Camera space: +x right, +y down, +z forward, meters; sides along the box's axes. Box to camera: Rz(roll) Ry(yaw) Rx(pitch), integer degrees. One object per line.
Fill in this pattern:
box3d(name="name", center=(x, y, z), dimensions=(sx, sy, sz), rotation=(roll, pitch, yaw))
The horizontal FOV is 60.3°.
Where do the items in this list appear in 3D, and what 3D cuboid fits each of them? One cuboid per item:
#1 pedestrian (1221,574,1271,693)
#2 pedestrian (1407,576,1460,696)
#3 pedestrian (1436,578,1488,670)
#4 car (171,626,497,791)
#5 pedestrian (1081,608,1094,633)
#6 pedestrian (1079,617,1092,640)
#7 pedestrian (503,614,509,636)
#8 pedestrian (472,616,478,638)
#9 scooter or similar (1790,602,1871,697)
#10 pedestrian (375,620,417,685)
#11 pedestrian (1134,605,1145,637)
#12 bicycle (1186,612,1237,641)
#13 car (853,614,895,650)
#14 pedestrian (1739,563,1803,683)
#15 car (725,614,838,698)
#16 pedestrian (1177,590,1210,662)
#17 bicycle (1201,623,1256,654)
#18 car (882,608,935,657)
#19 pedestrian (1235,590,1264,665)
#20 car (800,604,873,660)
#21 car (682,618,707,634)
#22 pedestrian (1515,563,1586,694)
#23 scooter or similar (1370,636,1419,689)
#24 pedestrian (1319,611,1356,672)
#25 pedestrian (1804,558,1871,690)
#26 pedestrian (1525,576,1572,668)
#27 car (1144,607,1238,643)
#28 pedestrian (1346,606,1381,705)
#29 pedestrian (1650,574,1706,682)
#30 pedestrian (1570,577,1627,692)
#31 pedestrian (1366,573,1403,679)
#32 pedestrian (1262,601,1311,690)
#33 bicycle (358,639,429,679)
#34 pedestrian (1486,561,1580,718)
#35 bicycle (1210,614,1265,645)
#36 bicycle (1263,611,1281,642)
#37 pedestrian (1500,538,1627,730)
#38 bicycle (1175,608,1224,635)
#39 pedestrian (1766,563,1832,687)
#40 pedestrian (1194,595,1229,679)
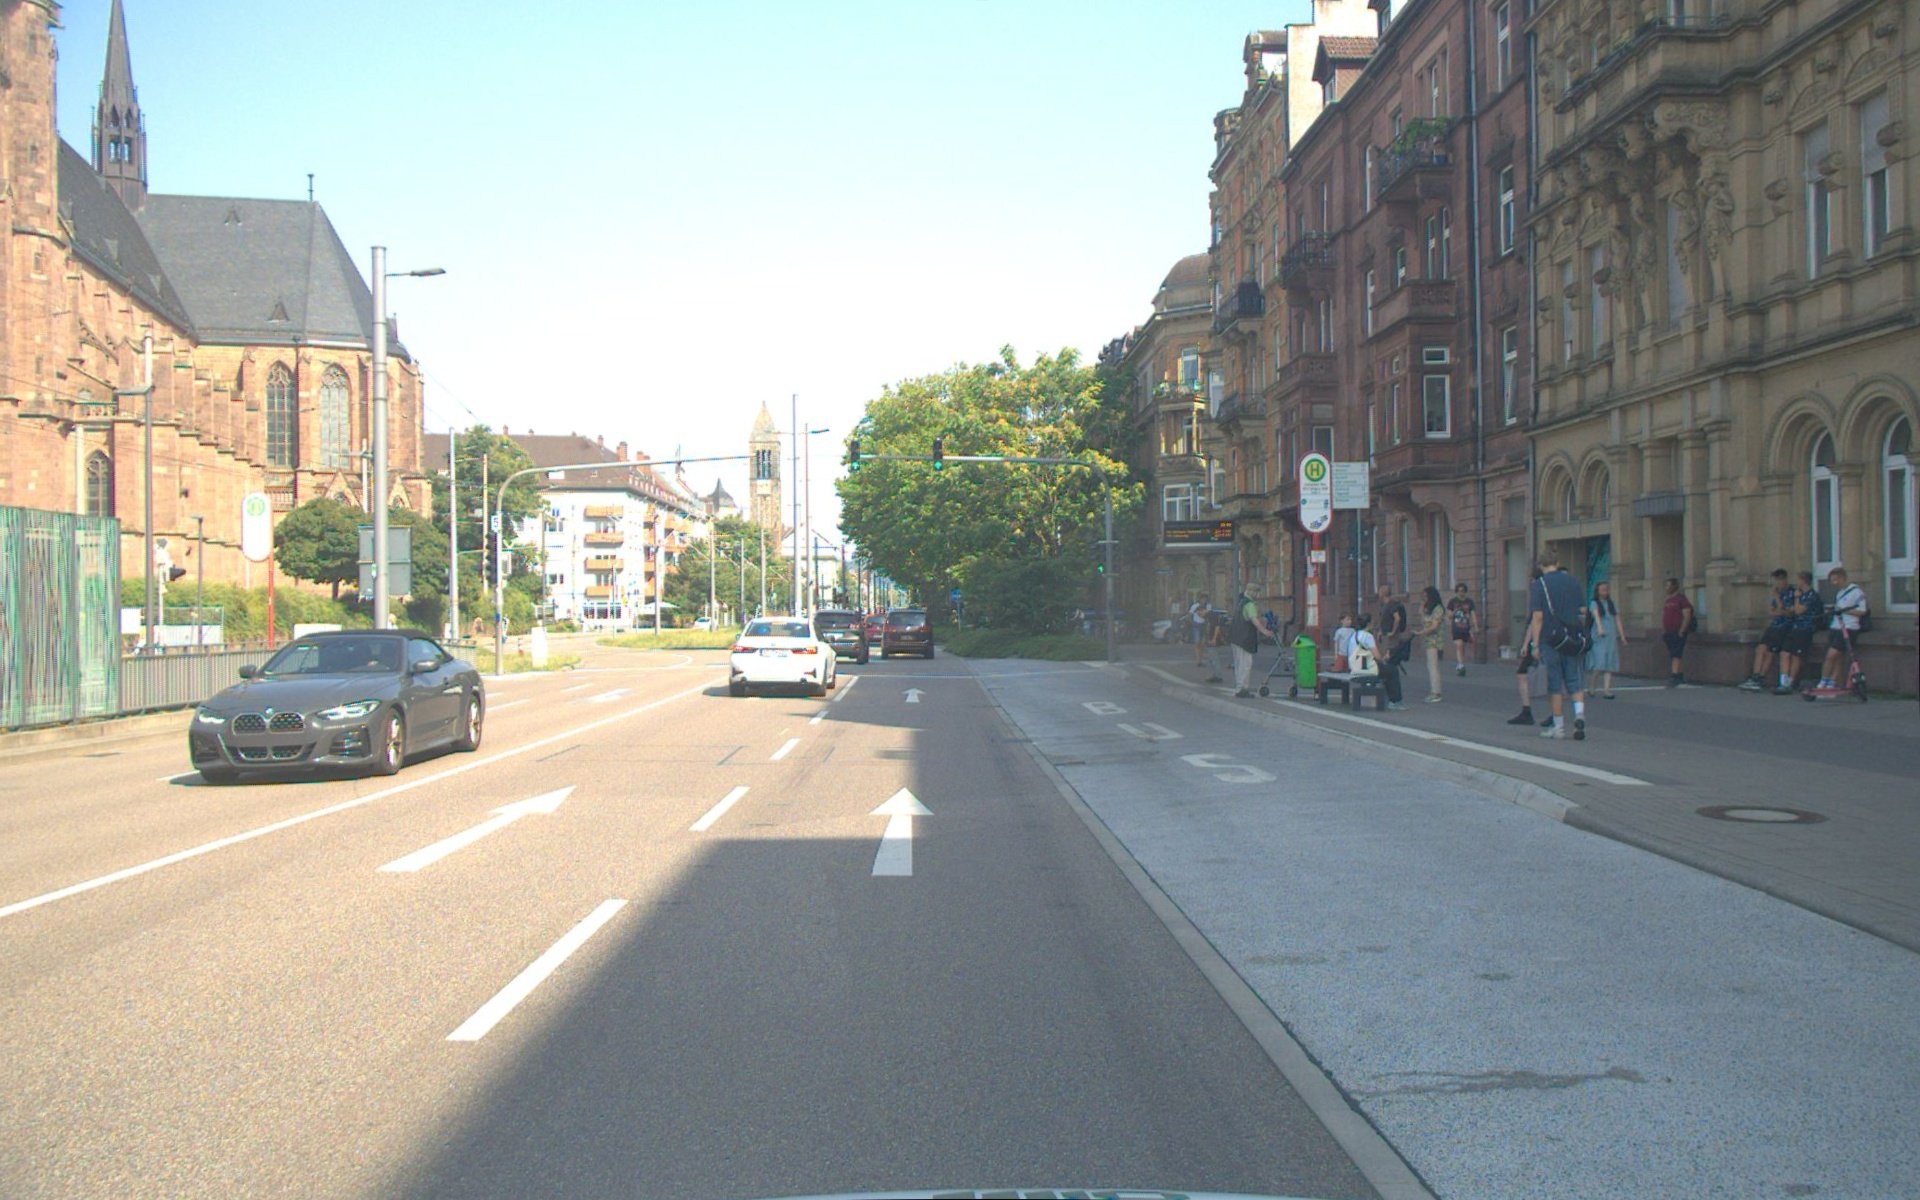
box3d(name="pedestrian", center=(4.312, 0.503, 24.957), dimensions=(0.554, 1.759, 0.744), rotation=(-1, 0, -5))
box3d(name="pedestrian", center=(7.080, 0.538, 24.759), dimensions=(0.554, 1.759, 0.617), rotation=(-1, 0, -5))
box3d(name="pedestrian", center=(9.748, 0.466, 32.141), dimensions=(0.686, 1.755, 0.897), rotation=(-1, 0, -2))
box3d(name="car", center=(-6.204, 0.999, 16.989), dimensions=(1.678, 1.354, 4.519), rotation=(-2, 0, -1))
box3d(name="pedestrian", center=(6.405, 1.018, 82.972), dimensions=(0.586, 1.270, 0.506), rotation=(-1, -1, -2))
box3d(name="pedestrian", center=(6.097, 1.384, 80.453), dimensions=(0.439, 1.089, 0.482), rotation=(-1, -1, -32))
box3d(name="pedestrian", center=(-32.034, 1.795, 116.724), dimensions=(0.298, 1.545, 0.340), rotation=(-1, -1, -5))
box3d(name="pedestrian", center=(-33.343, 1.859, 113.660), dimensions=(0.298, 1.545, 0.340), rotation=(-1, -1, -5))
box3d(name="scooter or similar", center=(11.189, 0.617, 21.283), dimensions=(0.353, 1.183, 1.151), rotation=(-1, 0, -4))
box3d(name="pedestrian", center=(-15.037, 1.393, 44.142), dimensions=(0.898, 1.709, 0.602), rotation=(-1, -1, -2))
box3d(name="pedestrian", center=(8.792, 1.021, 81.097), dimensions=(0.435, 1.532, 0.486), rotation=(-1, -1, -7))
box3d(name="bicycle", center=(9.819, 1.035, 64.514), dimensions=(1.891, 1.066, 0.526), rotation=(-1, -1, -7))
box3d(name="car", center=(-4.095, 1.507, 79.211), dimensions=(1.794, 1.649, 4.356), rotation=(0, 0, -1))
box3d(name="pedestrian", center=(11.832, 0.334, 24.146), dimensions=(0.591, 1.721, 0.586), rotation=(-1, 0, -5))
box3d(name="car", center=(-3.395, 1.024, 32.200), dimensions=(1.772, 1.452, 4.773), rotation=(1, 0, -1))
box3d(name="pedestrian", center=(5.544, 0.609, 39.285), dimensions=(0.676, 1.693, 0.619), rotation=(-1, 0, -1))
box3d(name="bicycle", center=(9.784, 1.391, 60.217), dimensions=(1.891, 1.066, 0.499), rotation=(-1, -1, -7))
box3d(name="car", center=(-1.768, 1.105, 58.079), dimensions=(1.794, 1.649, 4.356), rotation=(0, 0, -1))
box3d(name="pedestrian", center=(6.816, 0.644, 38.960), dimensions=(0.471, 1.732, 0.702), rotation=(-1, 0, -4))
box3d(name="car", center=(-3.734, 0.948, 50.666), dimensions=(1.953, 1.649, 4.356), rotation=(0, 0, -1))
box3d(name="car", center=(-26.128, 2.548, 163.004), dimensions=(1.954, 1.526, 3.997), rotation=(-1, 0, -3))
box3d(name="pedestrian", center=(8.544, 0.409, 23.974), dimensions=(0.604, 1.836, 1.071), rotation=(-1, -1, 0))
box3d(name="scooter or similar", center=(6.495, 0.932, 24.743), dimensions=(0.554, 0.754, 0.514), rotation=(-1, 0, -5))
box3d(name="pedestrian", center=(5.225, 0.570, 22.914), dimensions=(0.297, 0.834, 0.603), rotation=(-1, 0, -8))
box3d(name="pedestrian", center=(11.928, 0.325, 22.483), dimensions=(0.591, 1.762, 0.510), rotation=(-1, 0, -5))
box3d(name="pedestrian", center=(11.323, 0.420, 31.851), dimensions=(0.617, 1.749, 0.690), rotation=(-1, 0, -2))
box3d(name="car", center=(10.978, 1.171, 78.815), dimensions=(4.099, 1.591, 1.998), rotation=(-1, 0, -6))
box3d(name="pedestrian", center=(5.331, 0.726, 21.858), dimensions=(0.270, 1.296, 0.447), rotation=(-1, 0, -8))
box3d(name="pedestrian", center=(11.341, 0.434, 26.136), dimensions=(0.591, 1.683, 0.586), rotation=(-1, 0, -5))
box3d(name="pedestrian", center=(9.254, 0.497, 23.999), dimensions=(0.476, 1.638, 0.812), rotation=(-1, -1, 0))
box3d(name="pedestrian", center=(7.198, 0.443, 28.035), dimensions=(0.334, 1.763, 0.805), rotation=(-1, 0, -4))
box3d(name="pedestrian", center=(4.910, 0.676, 24.892), dimensions=(0.554, 1.300, 0.596), rotation=(-1, 0, -5))
box3d(name="bicycle", center=(-15.111, 1.573, 44.122), dimensions=(1.723, 0.995, 0.479), rotation=(-1, -1, -3))
box3d(name="pedestrian", center=(6.600, 0.443, 19.077), dimensions=(0.735, 1.759, 0.800), rotation=(-1, 0, -5))
box3d(name="bicycle", center=(9.980, 1.043, 59.486), dimensions=(1.891, 1.066, 0.499), rotation=(-1, -1, -7))
box3d(name="bicycle", center=(10.852, 0.907, 57.571), dimensions=(0.408, 1.066, 1.670), rotation=(-1, 0, 4))
box3d(name="pedestrian", center=(6.030, 0.331, 16.565), dimensions=(0.907, 1.864, 0.800), rotation=(-1, 0, -5))
box3d(name="bicycle", center=(9.773, 0.886, 67.476), dimensions=(1.891, 1.066, 0.526), rotation=(-1, -1, -7))
box3d(name="pedestrian", center=(11.900, 0.351, 23.467), dimensions=(0.591, 1.721, 0.586), rotation=(-1, 0, -5))
box3d(name="pedestrian", center=(4.943, 0.722, 32.557), dimensions=(0.517, 1.640, 0.702), rotation=(-1, 0, -5))
